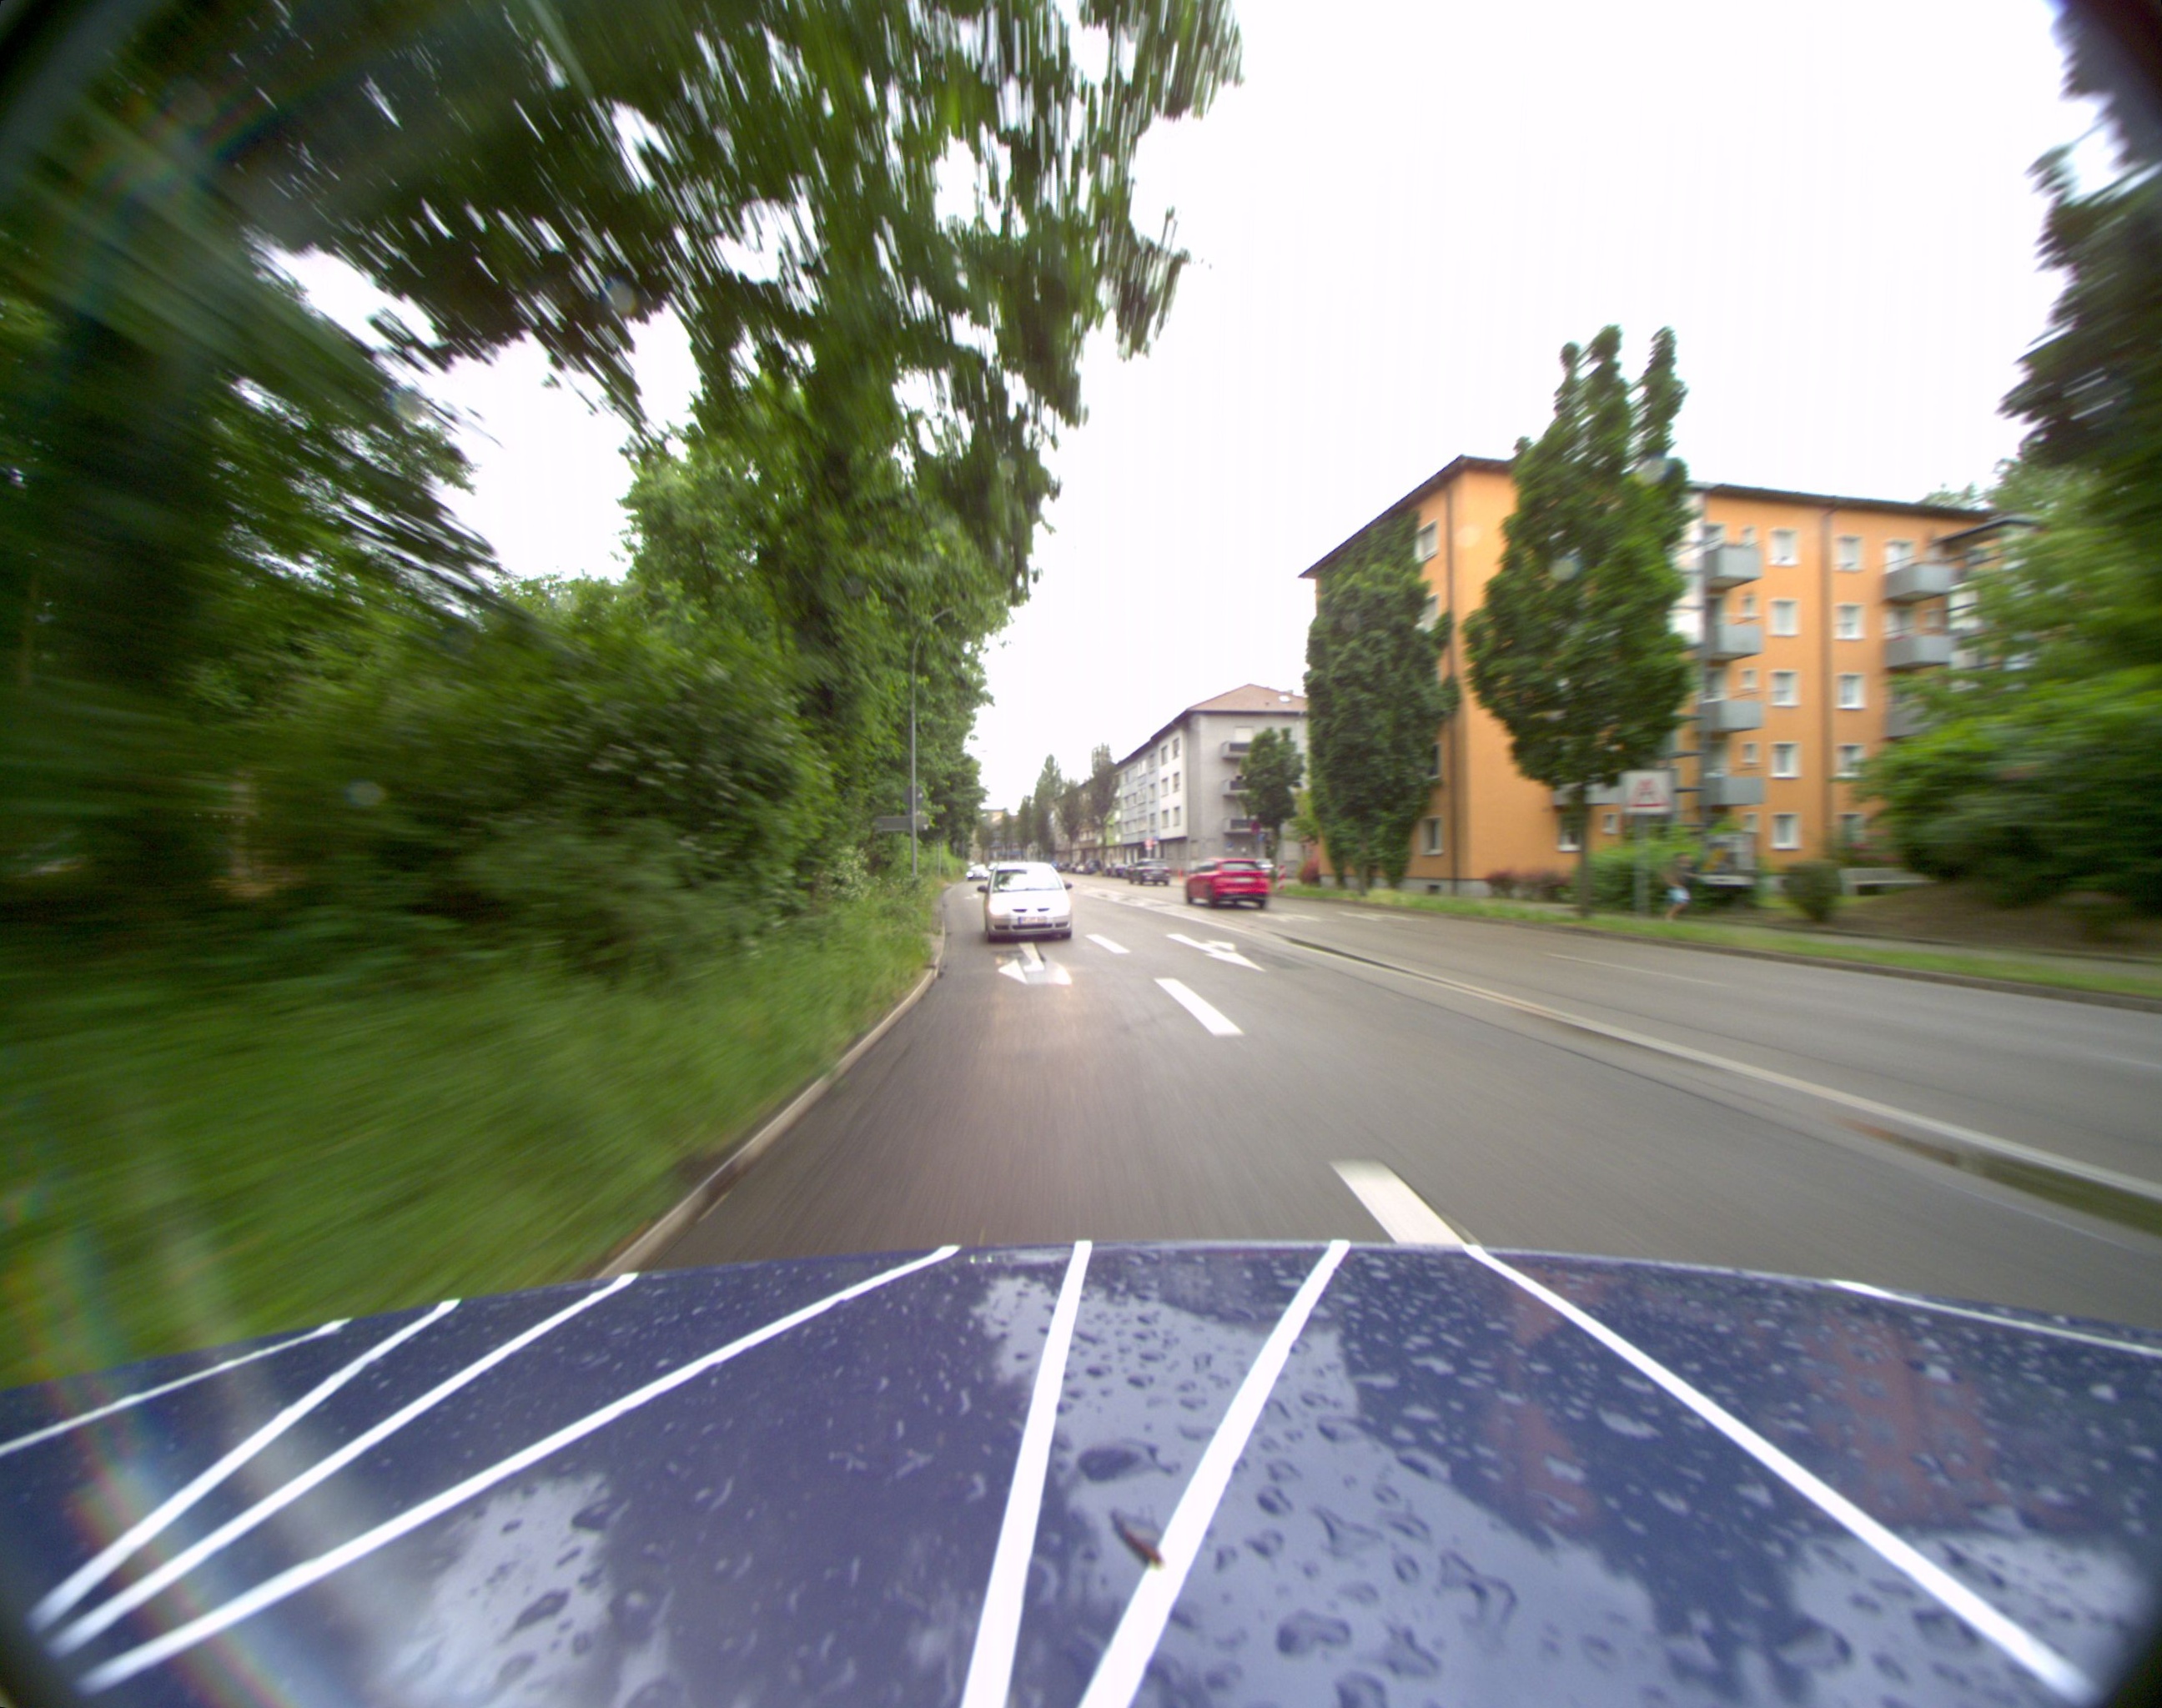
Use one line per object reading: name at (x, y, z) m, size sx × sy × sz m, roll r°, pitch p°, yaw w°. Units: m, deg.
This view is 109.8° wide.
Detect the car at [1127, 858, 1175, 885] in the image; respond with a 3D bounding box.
car at (4.344, 1.056, 47.884) m, size 1.929 × 1.621 × 4.497 m, roll 1°, pitch 0°, yaw -9°

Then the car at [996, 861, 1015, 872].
car at (-9.718, 1.595, 97.508) m, size 2.001 × 1.455 × 3.996 m, roll 0°, pitch 0°, yaw -12°

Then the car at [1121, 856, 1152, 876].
car at (4.863, 1.046, 66.918) m, size 1.853 × 1.536 × 4.244 m, roll -3°, pitch 1°, yaw -7°

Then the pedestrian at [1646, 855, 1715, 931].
pedestrian at (11.715, 0.750, 14.863) m, size 0.673 × 1.440 × 0.835 m, roll 0°, pitch 0°, yaw -6°

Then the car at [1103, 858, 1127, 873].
car at (3.481, 1.172, 78.175) m, size 1.727 × 1.472 × 4.312 m, roll 1°, pitch 0°, yaw -8°

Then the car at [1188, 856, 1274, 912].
car at (4.559, 0.866, 23.664) m, size 1.680 × 1.553 × 4.141 m, roll -1°, pitch 0°, yaw -2°

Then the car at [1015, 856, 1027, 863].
car at (-13.228, 1.151, 167.833) m, size 1.870 × 1.558 × 4.168 m, roll 0°, pitch 0°, yaw -14°

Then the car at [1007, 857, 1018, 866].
car at (-12.692, 1.401, 140.550) m, size 1.817 × 1.506 × 4.287 m, roll 1°, pitch -1°, yaw -8°

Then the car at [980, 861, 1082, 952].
car at (-1.200, 1.001, 16.244) m, size 1.756 × 1.586 × 4.166 m, roll -4°, pitch 0°, yaw -8°

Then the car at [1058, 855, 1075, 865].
car at (-2.184, 0.895, 113.566) m, size 1.869 × 1.504 × 3.997 m, roll -1°, pitch 0°, yaw -9°

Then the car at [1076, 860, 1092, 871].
car at (0.405, 1.419, 96.804) m, size 1.548 × 1.369 × 3.446 m, roll 0°, pitch -1°, yaw -8°

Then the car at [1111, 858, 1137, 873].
car at (4.070, 1.046, 72.627) m, size 1.727 × 1.376 × 3.923 m, roll 0°, pitch 0°, yaw -8°

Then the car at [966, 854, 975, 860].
car at (-29.779, 0.910, 204.834) m, size 1.871 × 1.558 × 4.166 m, roll 0°, pitch 0°, yaw -19°

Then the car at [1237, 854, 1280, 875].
car at (13.311, 0.786, 57.225) m, size 1.735 × 1.516 × 4.226 m, roll 0°, pitch 0°, yaw -8°

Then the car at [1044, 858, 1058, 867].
car at (-5.155, 1.451, 128.524) m, size 1.869 × 1.591 × 4.170 m, roll 0°, pitch 0°, yaw -9°

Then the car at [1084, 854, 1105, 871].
car at (1.606, 0.994, 91.480) m, size 1.906 × 1.859 × 4.312 m, roll -1°, pitch 0°, yaw -8°
